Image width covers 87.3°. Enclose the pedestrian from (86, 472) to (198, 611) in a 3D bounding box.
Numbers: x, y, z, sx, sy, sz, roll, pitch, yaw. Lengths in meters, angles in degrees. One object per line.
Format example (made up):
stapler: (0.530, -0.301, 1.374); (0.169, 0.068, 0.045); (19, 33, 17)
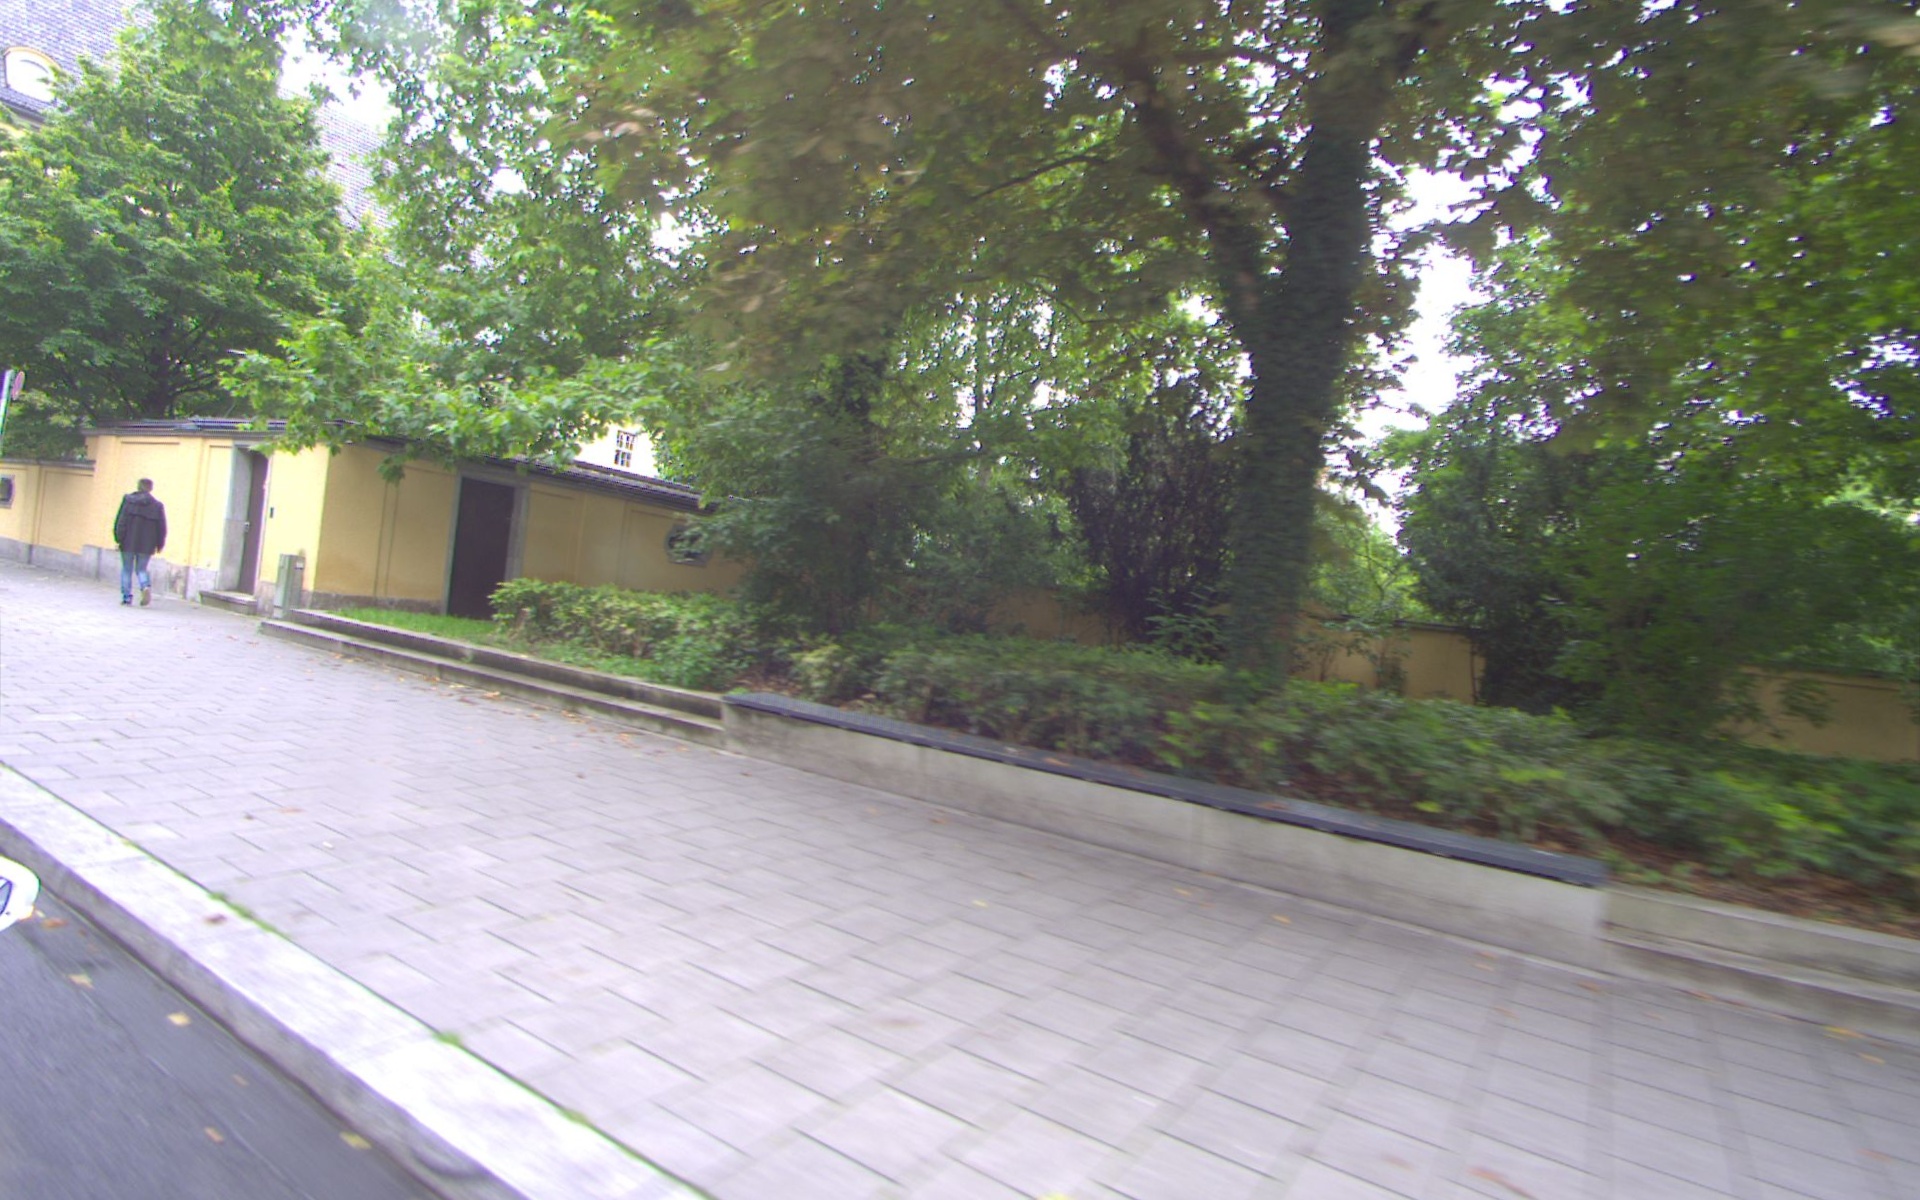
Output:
pedestrian: (-11.875, -0.844, 14.603); (1.035, 1.854, 0.874); (7, 1, 34)
